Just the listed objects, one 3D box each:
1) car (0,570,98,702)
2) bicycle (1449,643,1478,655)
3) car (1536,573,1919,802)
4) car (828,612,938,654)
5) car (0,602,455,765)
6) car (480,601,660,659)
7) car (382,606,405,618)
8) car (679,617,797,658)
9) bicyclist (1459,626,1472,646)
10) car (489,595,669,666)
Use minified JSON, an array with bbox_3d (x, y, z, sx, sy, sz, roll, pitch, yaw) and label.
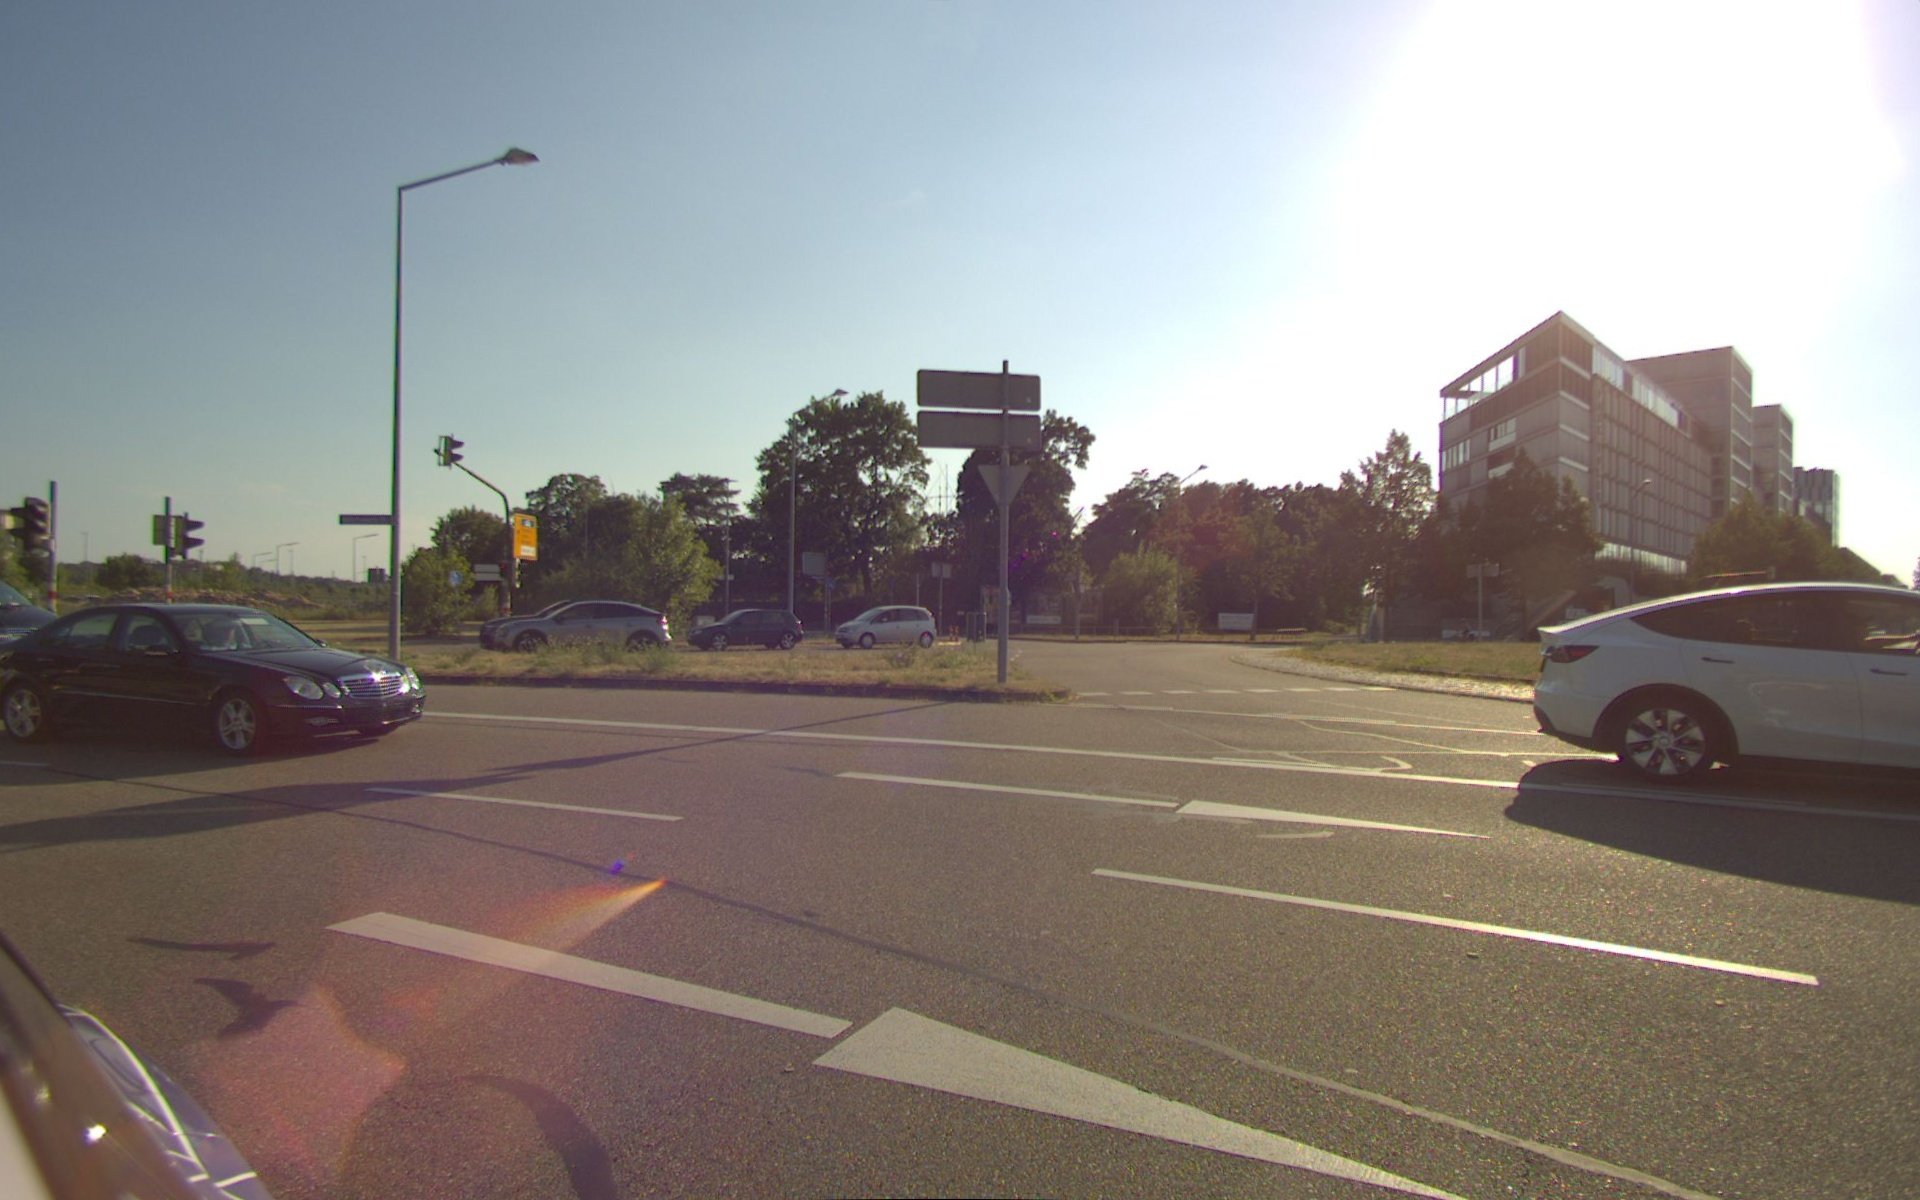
[{"bbox_3d":[-16.647,0.469,15.633,4.938,1.946,1.864,1,0,-4],"label":"car"},{"bbox_3d":[33.831,3.293,67.980,1.699,0.750,0.480,1,-1,3],"label":"bicycle"},{"bbox_3d":[7.220,0.615,7.815,4.668,1.611,1.719,1,0,36],"label":"car"},{"bbox_3d":[-2.909,1.247,38.511,3.877,1.537,1.661,1,-1,-33],"label":"car"},{"bbox_3d":[-7.891,0.786,10.664,4.447,1.448,1.804,1,-1,12],"label":"car"},{"bbox_3d":[-10.951,0.850,28.500,4.564,1.524,1.658,1,-2,-28],"label":"car"},{"bbox_3d":[-63.501,1.330,113.373,2.802,1.302,1.318,0,-1,41],"label":"car"},{"bbox_3d":[-7.766,1.311,35.484,3.765,1.359,1.485,2,-1,-31],"label":"car"},{"bbox_3d":[33.961,2.405,68.016,0.646,1.336,0.518,0,-1,4],"label":"bicyclist"},{"bbox_3d":[-9.693,0.768,25.792,4.126,1.686,1.782,1,-1,-24],"label":"car"}]
